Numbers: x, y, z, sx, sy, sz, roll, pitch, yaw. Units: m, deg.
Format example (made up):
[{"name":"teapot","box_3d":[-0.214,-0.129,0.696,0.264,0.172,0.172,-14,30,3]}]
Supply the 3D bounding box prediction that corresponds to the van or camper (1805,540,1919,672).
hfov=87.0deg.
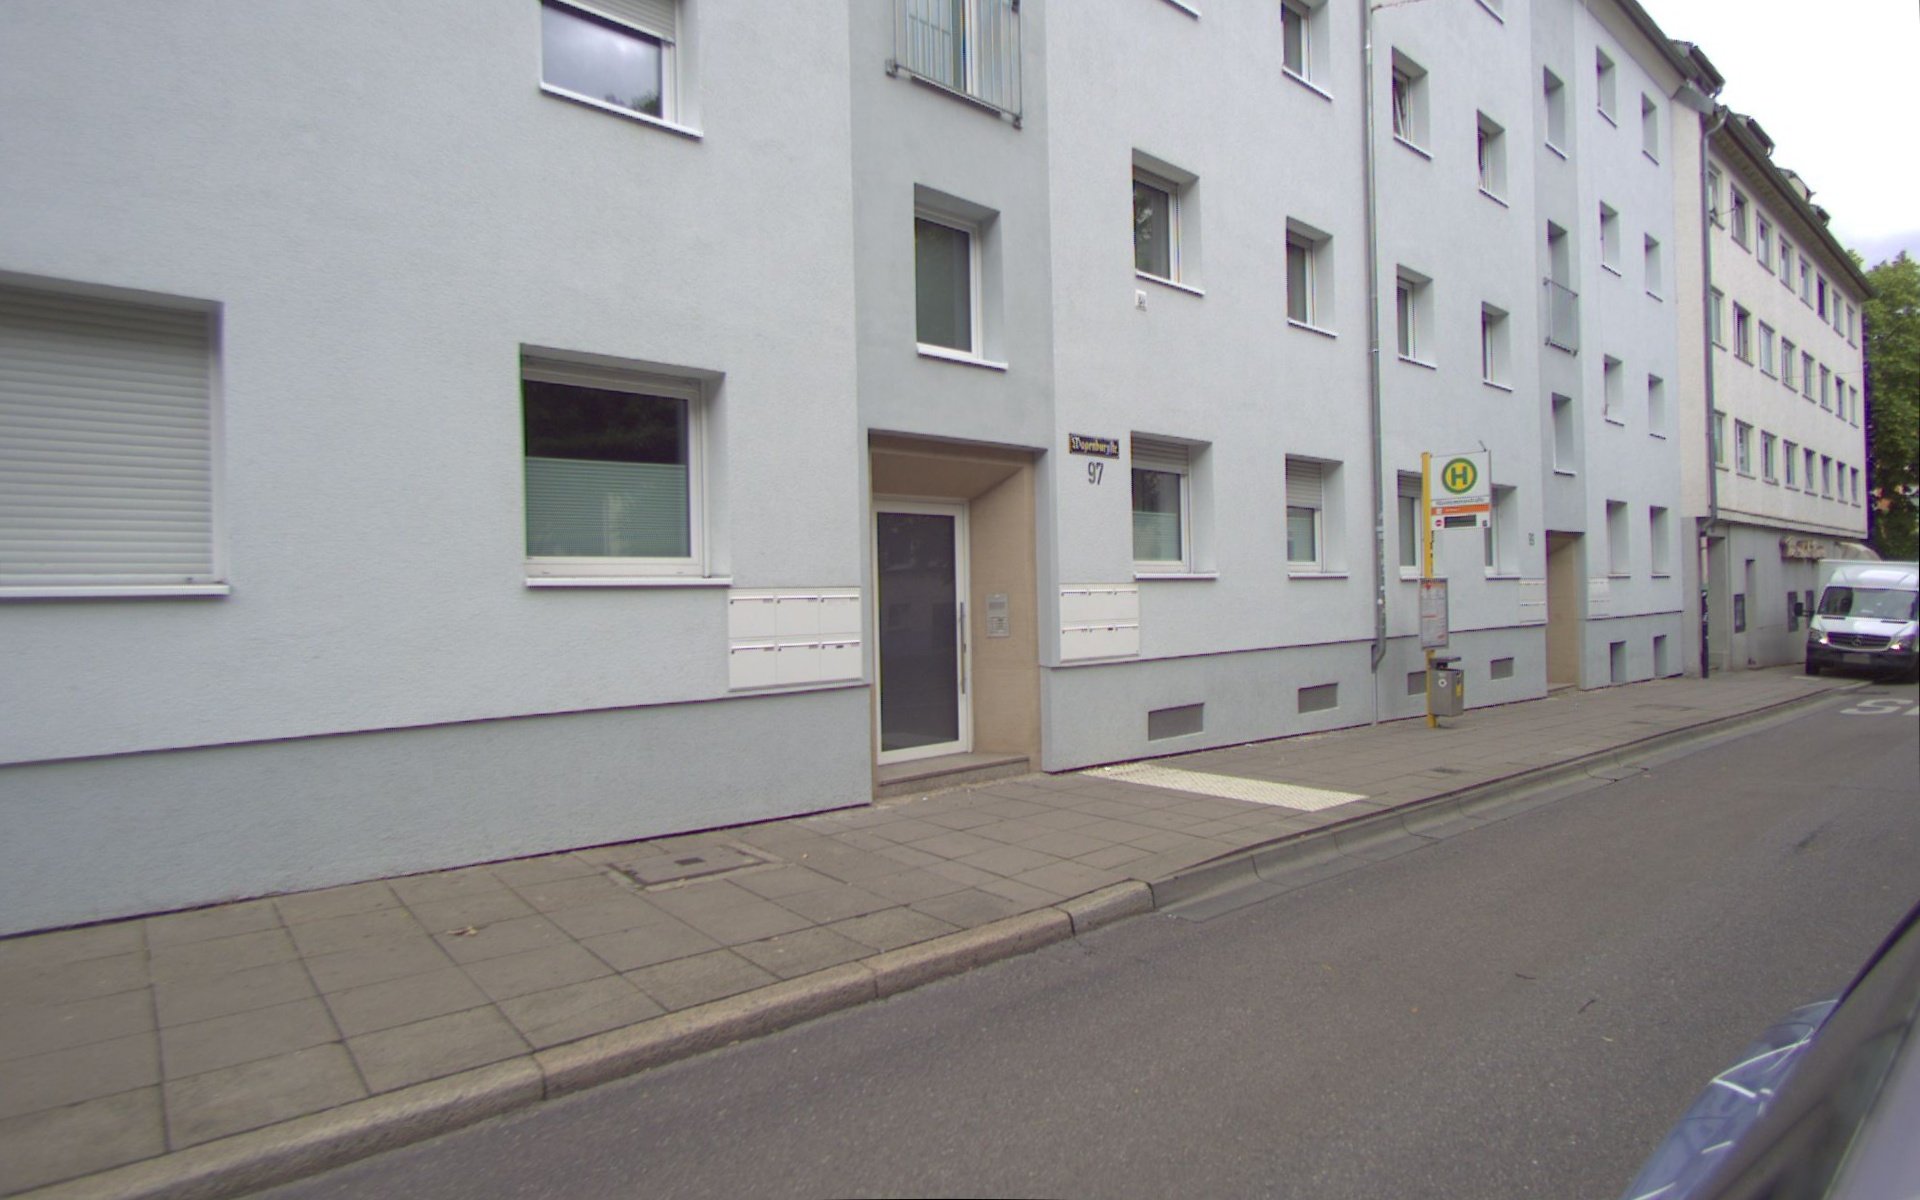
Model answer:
[{"name":"van or camper","box_3d":[22.754,0.149,24.636,7.116,2.839,2.482,0,-1,-43]}]
